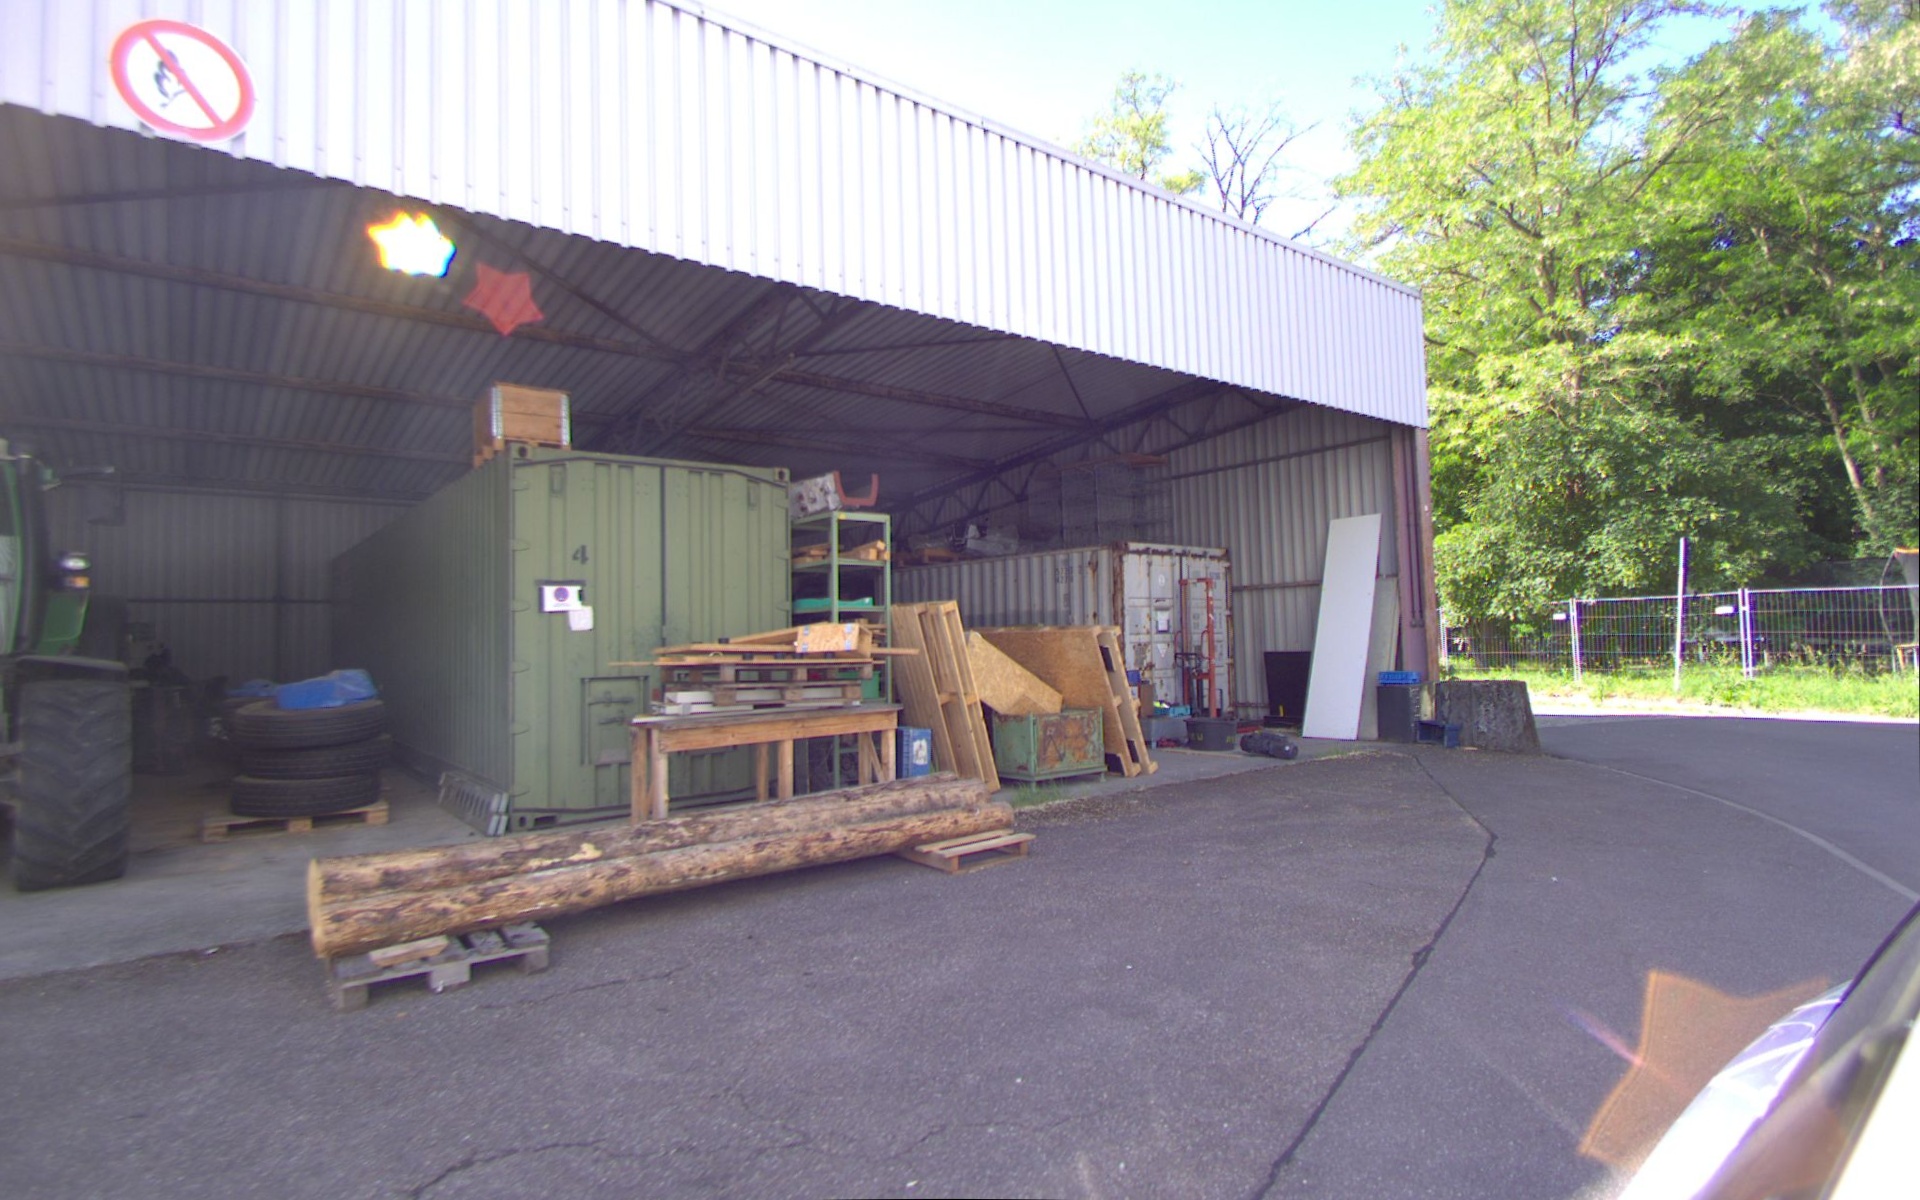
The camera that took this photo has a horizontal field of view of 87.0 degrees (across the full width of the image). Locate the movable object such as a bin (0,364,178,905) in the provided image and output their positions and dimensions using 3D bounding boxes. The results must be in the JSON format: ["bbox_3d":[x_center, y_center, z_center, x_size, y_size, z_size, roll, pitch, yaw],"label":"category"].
[{"bbox_3d":[-8.736,0.403,8.612,3.152,2.948,9.213,0,-3,-37],"label":"movable object such as a bin"}]
